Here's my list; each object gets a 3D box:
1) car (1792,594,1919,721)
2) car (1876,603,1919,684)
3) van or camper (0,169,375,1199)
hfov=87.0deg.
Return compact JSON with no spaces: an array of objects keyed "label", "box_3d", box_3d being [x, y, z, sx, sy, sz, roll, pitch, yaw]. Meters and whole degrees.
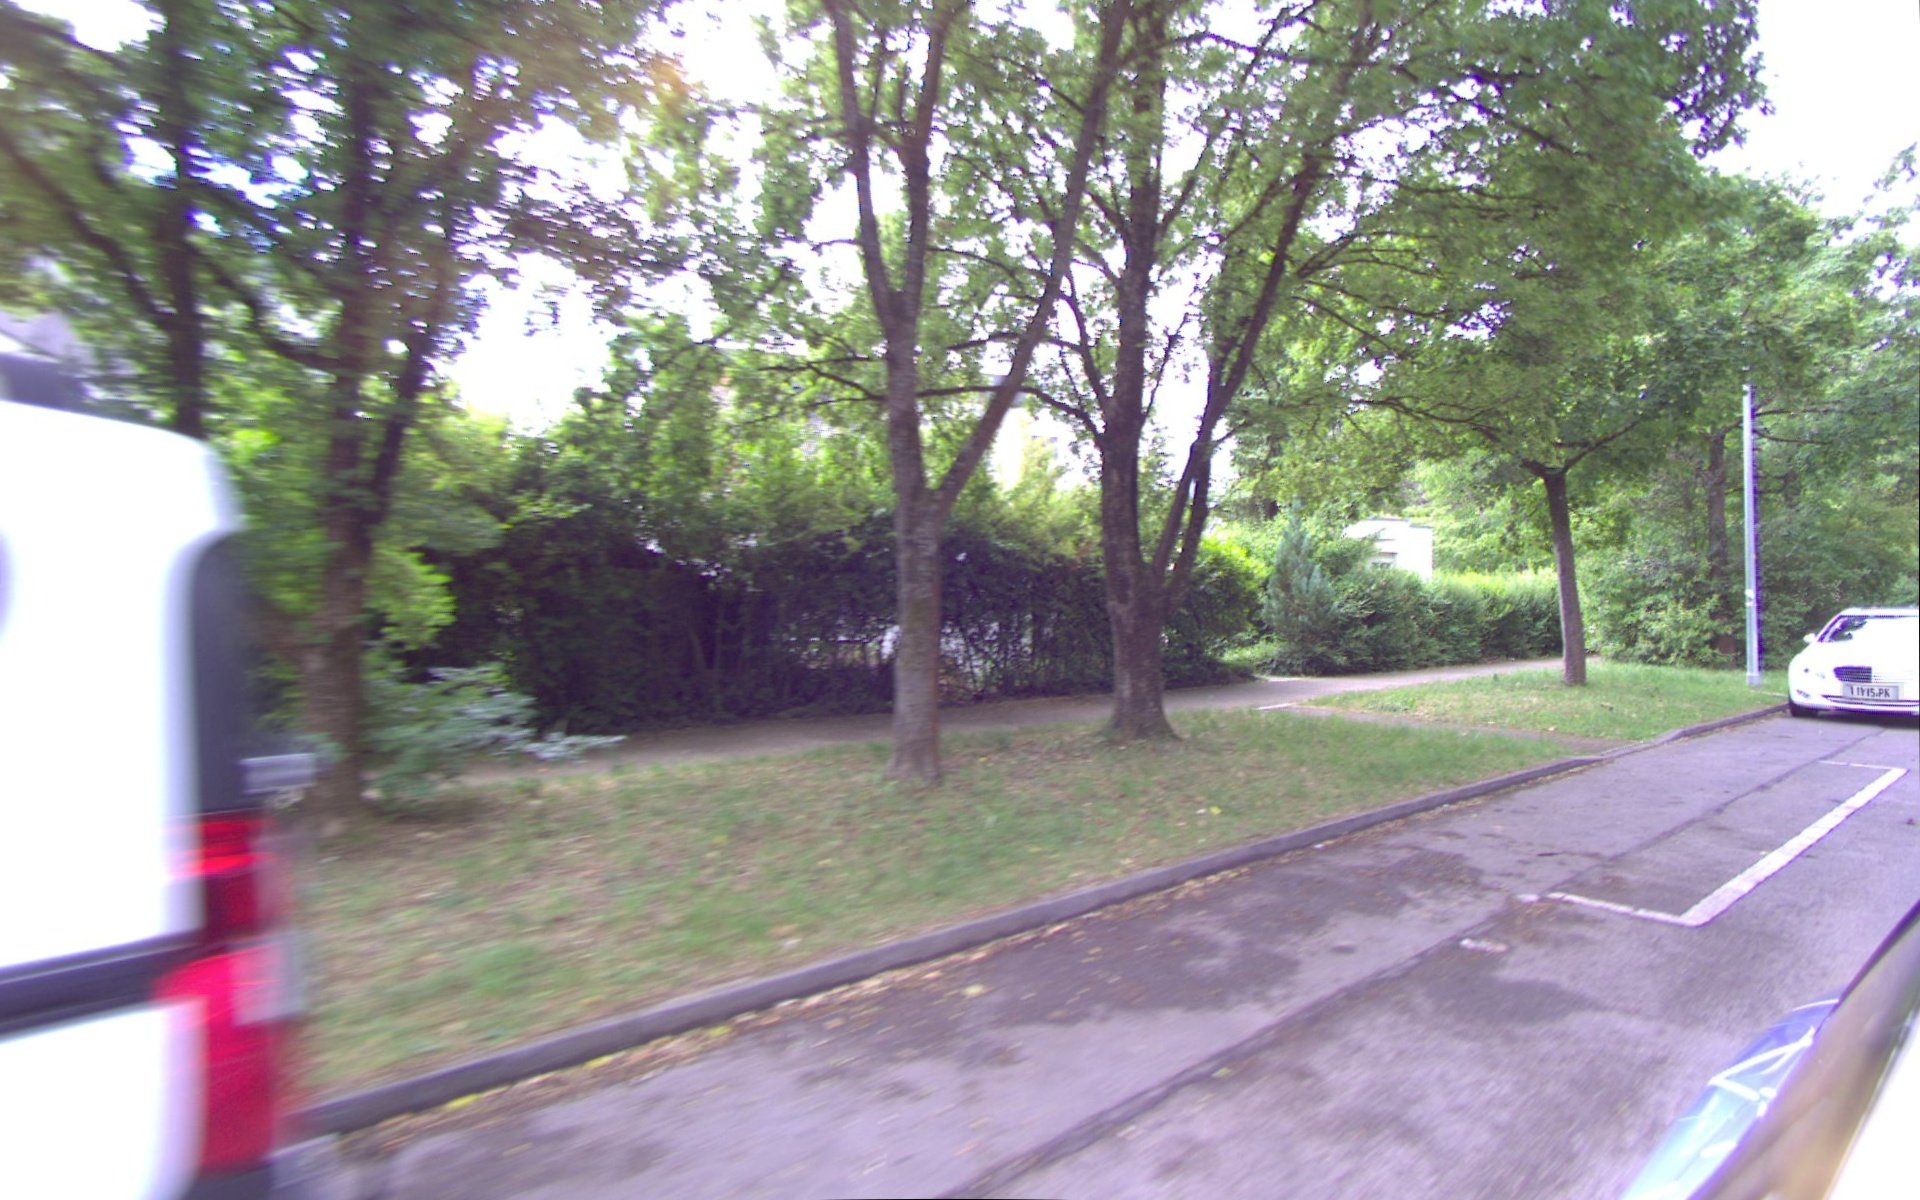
[{"label":"car","box_3d":[13.328,0.700,14.089,5.085,1.526,1.889,0,0,-41]},{"label":"car","box_3d":[18.802,0.778,19.023,3.986,1.429,1.796,0,0,-40]},{"label":"van or camper","box_3d":[-2.878,0.548,0.482,4.246,1.861,1.804,-2,0,-42]}]
